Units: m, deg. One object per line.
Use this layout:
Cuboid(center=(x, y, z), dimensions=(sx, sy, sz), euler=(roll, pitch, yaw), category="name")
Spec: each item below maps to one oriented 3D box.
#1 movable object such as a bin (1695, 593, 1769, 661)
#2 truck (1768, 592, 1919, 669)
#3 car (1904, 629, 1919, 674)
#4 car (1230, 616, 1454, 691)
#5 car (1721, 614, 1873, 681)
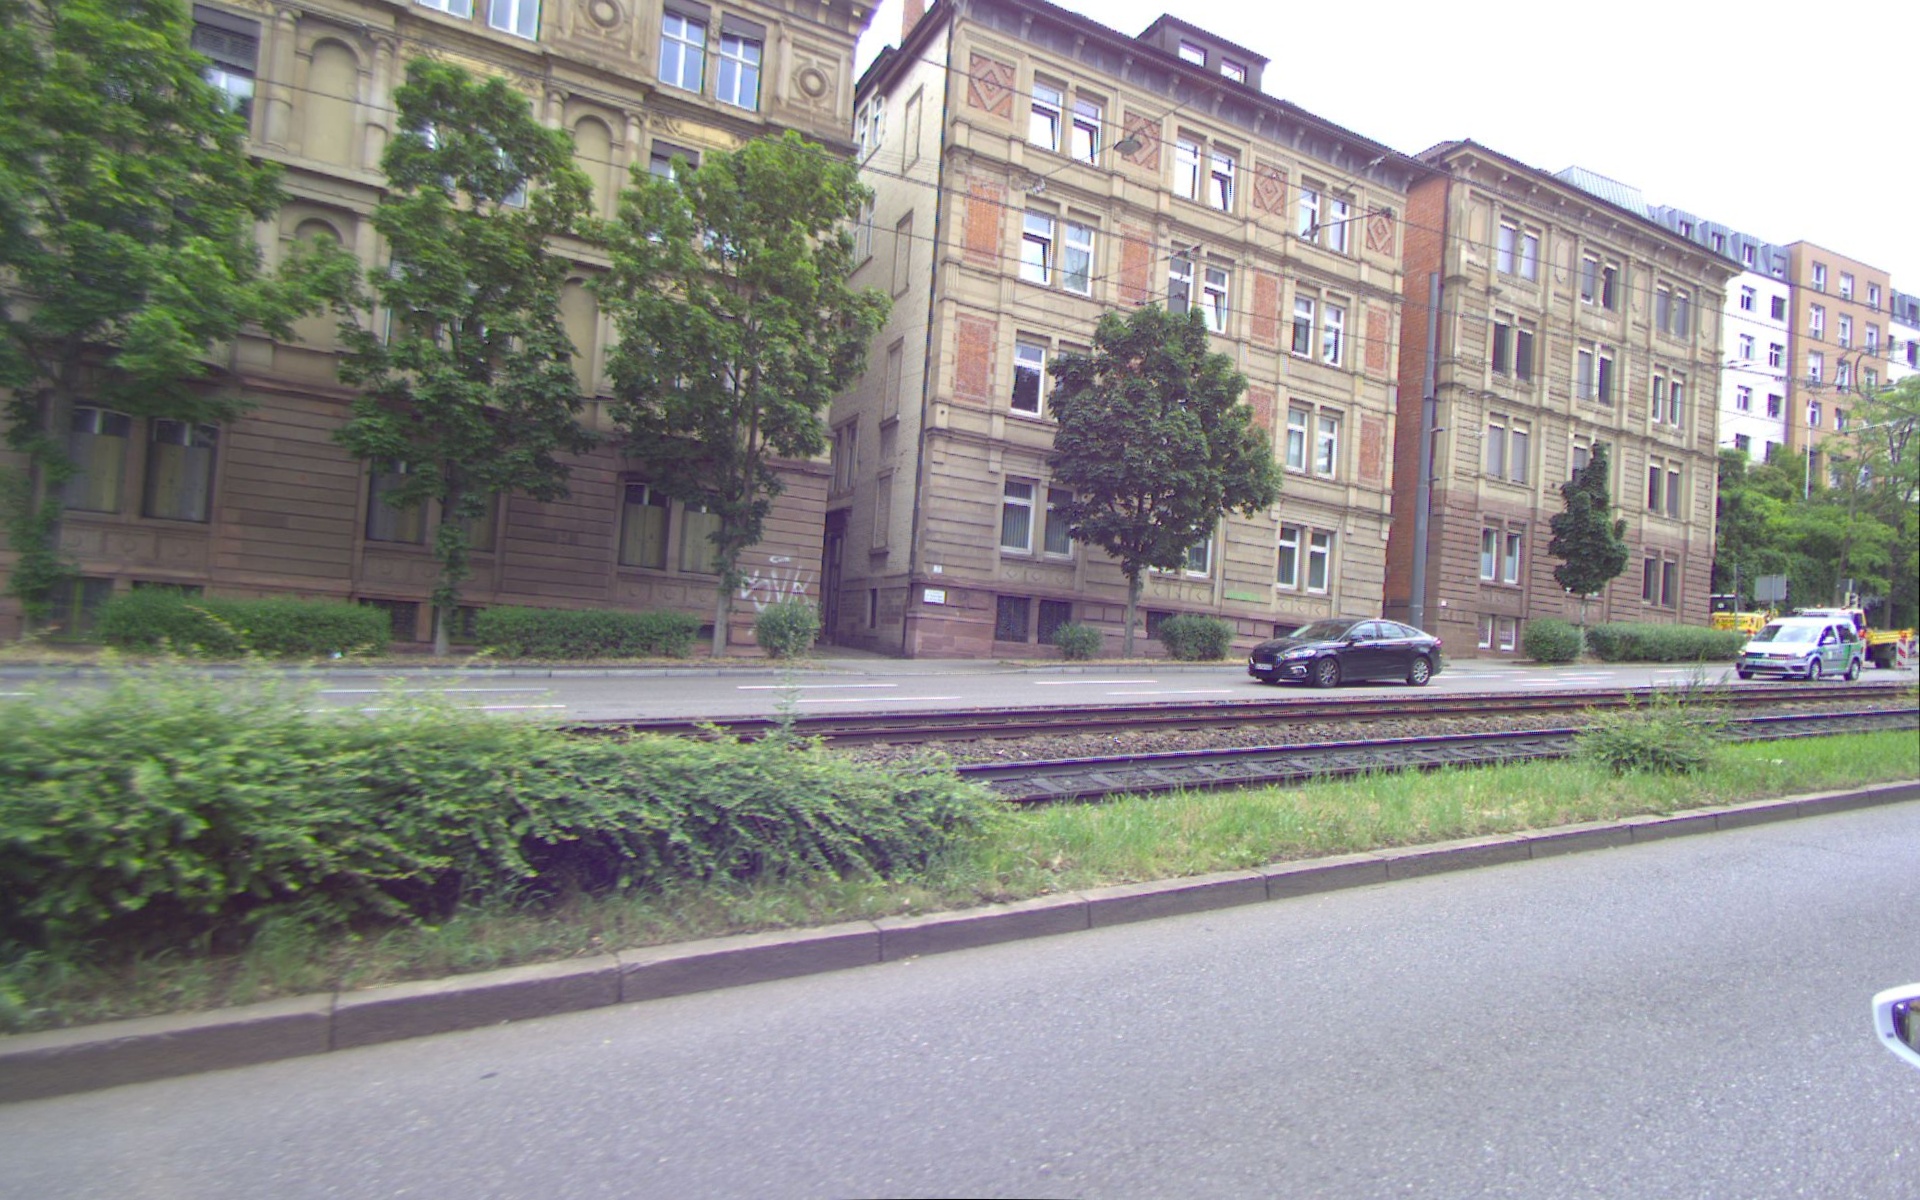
Cuboid(center=(33.722, 1.185, 43.884), dimensions=(2.008, 2.875, 1.982), euler=(2, -1, -33), category="movable object such as a bin")
Cuboid(center=(35.837, 1.272, 40.093), dimensions=(7.065, 2.543, 2.906), euler=(4, 0, -28), category="truck")
Cuboid(center=(36.114, 1.919, 36.158), dimensions=(4.384, 1.575, 1.857), euler=(3, 0, -29), category="car")
Cuboid(center=(8.416, 1.143, 22.030), dimensions=(4.883, 1.469, 1.812), euler=(2, -1, -28), category="car")
Cuboid(center=(24.151, 1.365, 28.971), dimensions=(4.461, 1.811, 1.872), euler=(2, -2, -29), category="car")
